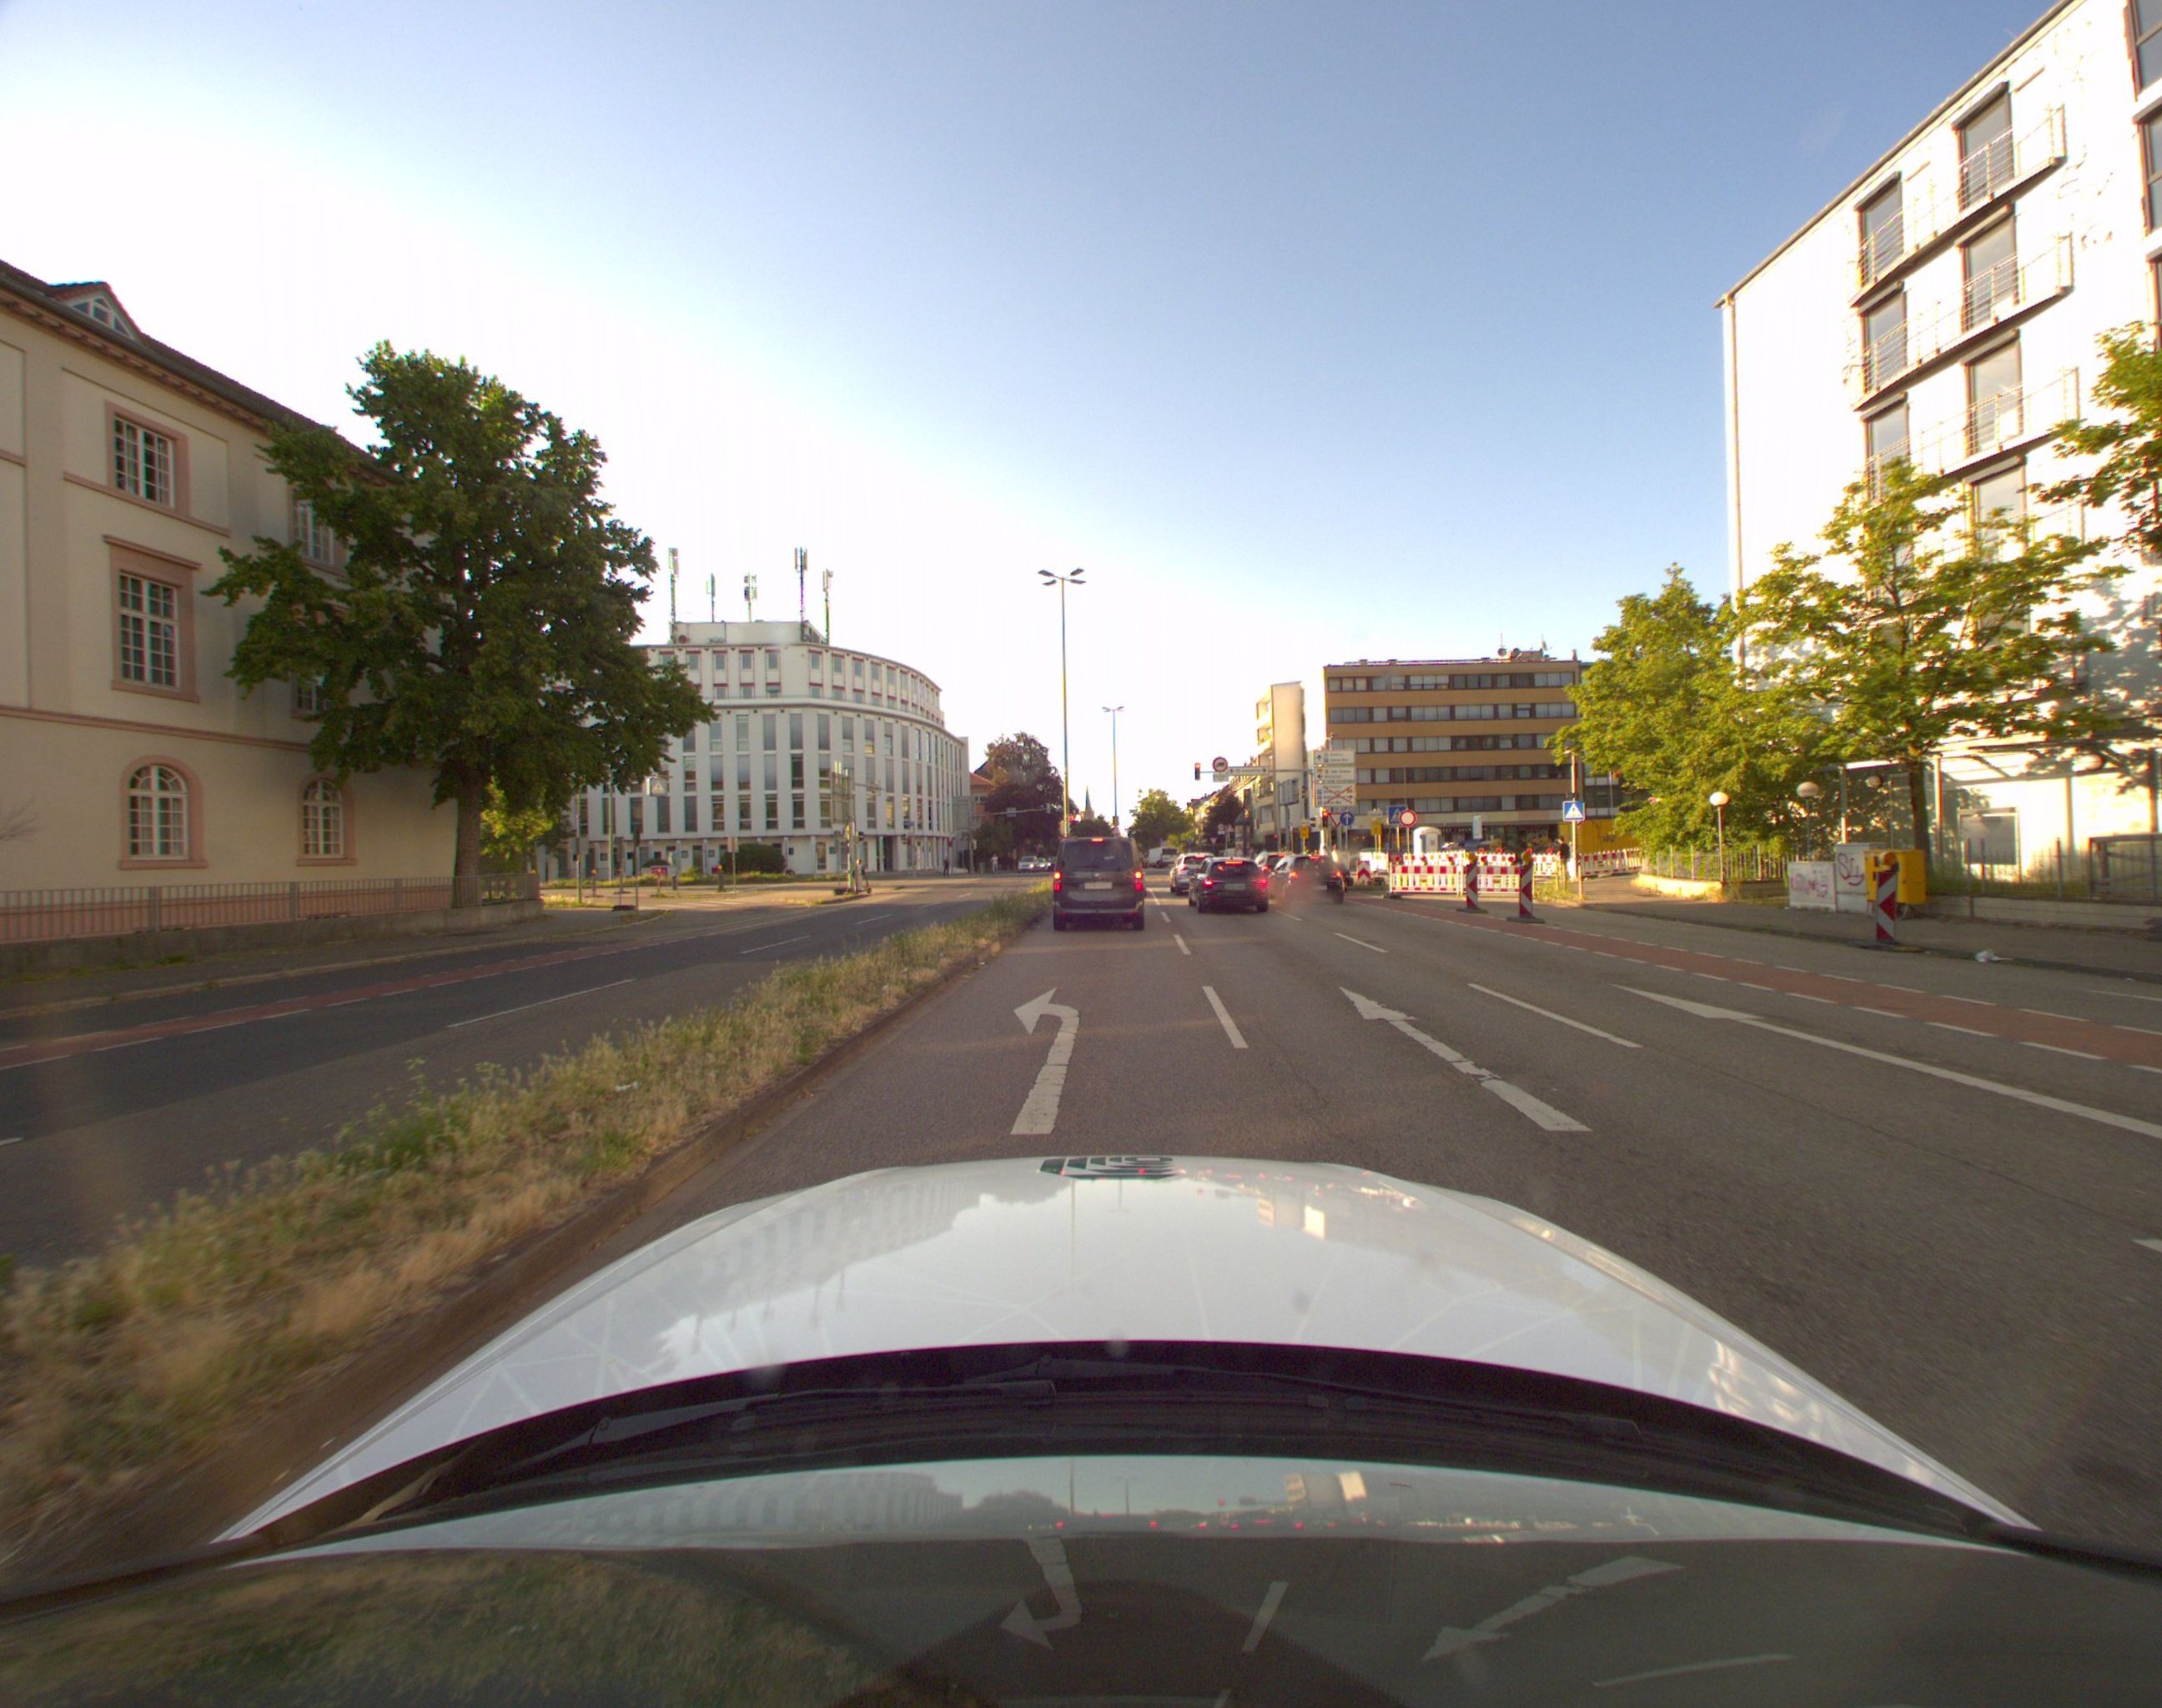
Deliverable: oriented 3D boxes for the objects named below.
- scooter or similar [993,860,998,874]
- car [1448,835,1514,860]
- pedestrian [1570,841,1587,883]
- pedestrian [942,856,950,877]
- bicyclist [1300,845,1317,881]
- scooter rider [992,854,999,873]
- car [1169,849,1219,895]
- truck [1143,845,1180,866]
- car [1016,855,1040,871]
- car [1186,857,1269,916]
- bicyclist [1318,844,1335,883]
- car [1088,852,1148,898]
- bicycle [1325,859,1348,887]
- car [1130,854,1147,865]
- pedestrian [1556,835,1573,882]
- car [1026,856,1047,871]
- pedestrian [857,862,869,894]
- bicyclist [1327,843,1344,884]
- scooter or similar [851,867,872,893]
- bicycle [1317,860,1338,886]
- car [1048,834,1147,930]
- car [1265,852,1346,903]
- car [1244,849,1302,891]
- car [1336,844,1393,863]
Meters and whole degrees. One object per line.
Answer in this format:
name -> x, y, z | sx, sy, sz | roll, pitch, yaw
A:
scooter or similar -> -7.838, 1.175, 74.496 | 0.284, 1.188, 1.170 | -2, 0, 3
car -> 31.403, -0.487, 64.046 | 4.198, 1.817, 2.002 | -2, 0, 2
pedestrian -> 20.118, 0.325, 32.936 | 0.448, 1.671, 0.607 | -2, 0, 39
pedestrian -> -11.205, 1.010, 67.498 | 0.626, 1.722, 0.669 | -2, 0, -11
bicyclist -> 9.949, 0.389, 35.595 | 0.511, 1.525, 0.726 | -2, 0, 2
scooter rider -> -7.849, 0.845, 74.572 | 0.479, 1.697, 0.637 | -2, 0, 2
car -> 4.152, 0.617, 30.448 | 1.522, 1.613, 3.748 | 0, 0, 3
truck -> 8.570, 0.159, 87.144 | 2.135, 2.086, 4.600 | -2, 0, -20
car -> -5.063, 0.851, 78.432 | 1.849, 1.420, 4.001 | -2, 0, 1
car -> 3.850, 0.801, 22.008 | 1.675, 1.421, 4.217 | 0, 0, 3
bicyclist -> 9.833, 0.362, 32.660 | 0.439, 1.525, 0.726 | -2, 0, 3
car -> 1.366, 0.706, 29.921 | 1.985, 1.530, 4.003 | -2, 0, 3
bicycle -> 9.549, 0.696, 30.446 | 0.335, 1.008, 1.857 | -2, 0, 3
car -> 8.558, 0.799, 121.140 | 1.989, 1.662, 3.996 | -2, 0, -3
pedestrian -> 19.401, 0.176, 32.655 | 0.481, 1.834, 0.575 | -2, 0, 35
car -> -4.561, 0.931, 84.014 | 1.849, 1.420, 4.001 | -2, 0, 1
pedestrian -> -10.425, 1.124, 38.929 | 0.474, 1.505, 0.334 | -2, 0, -9
bicyclist -> 9.529, 0.343, 30.511 | 0.439, 1.525, 0.483 | -2, 0, 2
scooter or similar -> -10.425, 1.229, 38.669 | 0.892, 1.234, 0.370 | -2, 0, -9
bicycle -> 9.833, 0.747, 32.576 | 0.335, 1.008, 1.857 | -2, 0, 3
car -> 0.426, 0.545, 18.074 | 1.899, 1.863, 4.529 | 0, 0, 3
car -> 6.839, 0.661, 25.158 | 1.627, 1.449, 3.748 | 0, 0, 3
car -> 7.207, 0.576, 30.791 | 1.498, 1.449, 3.307 | -2, 0, 3
car -> 22.981, -0.068, 66.067 | 3.979, 1.420, 1.785 | -2, 0, -4
